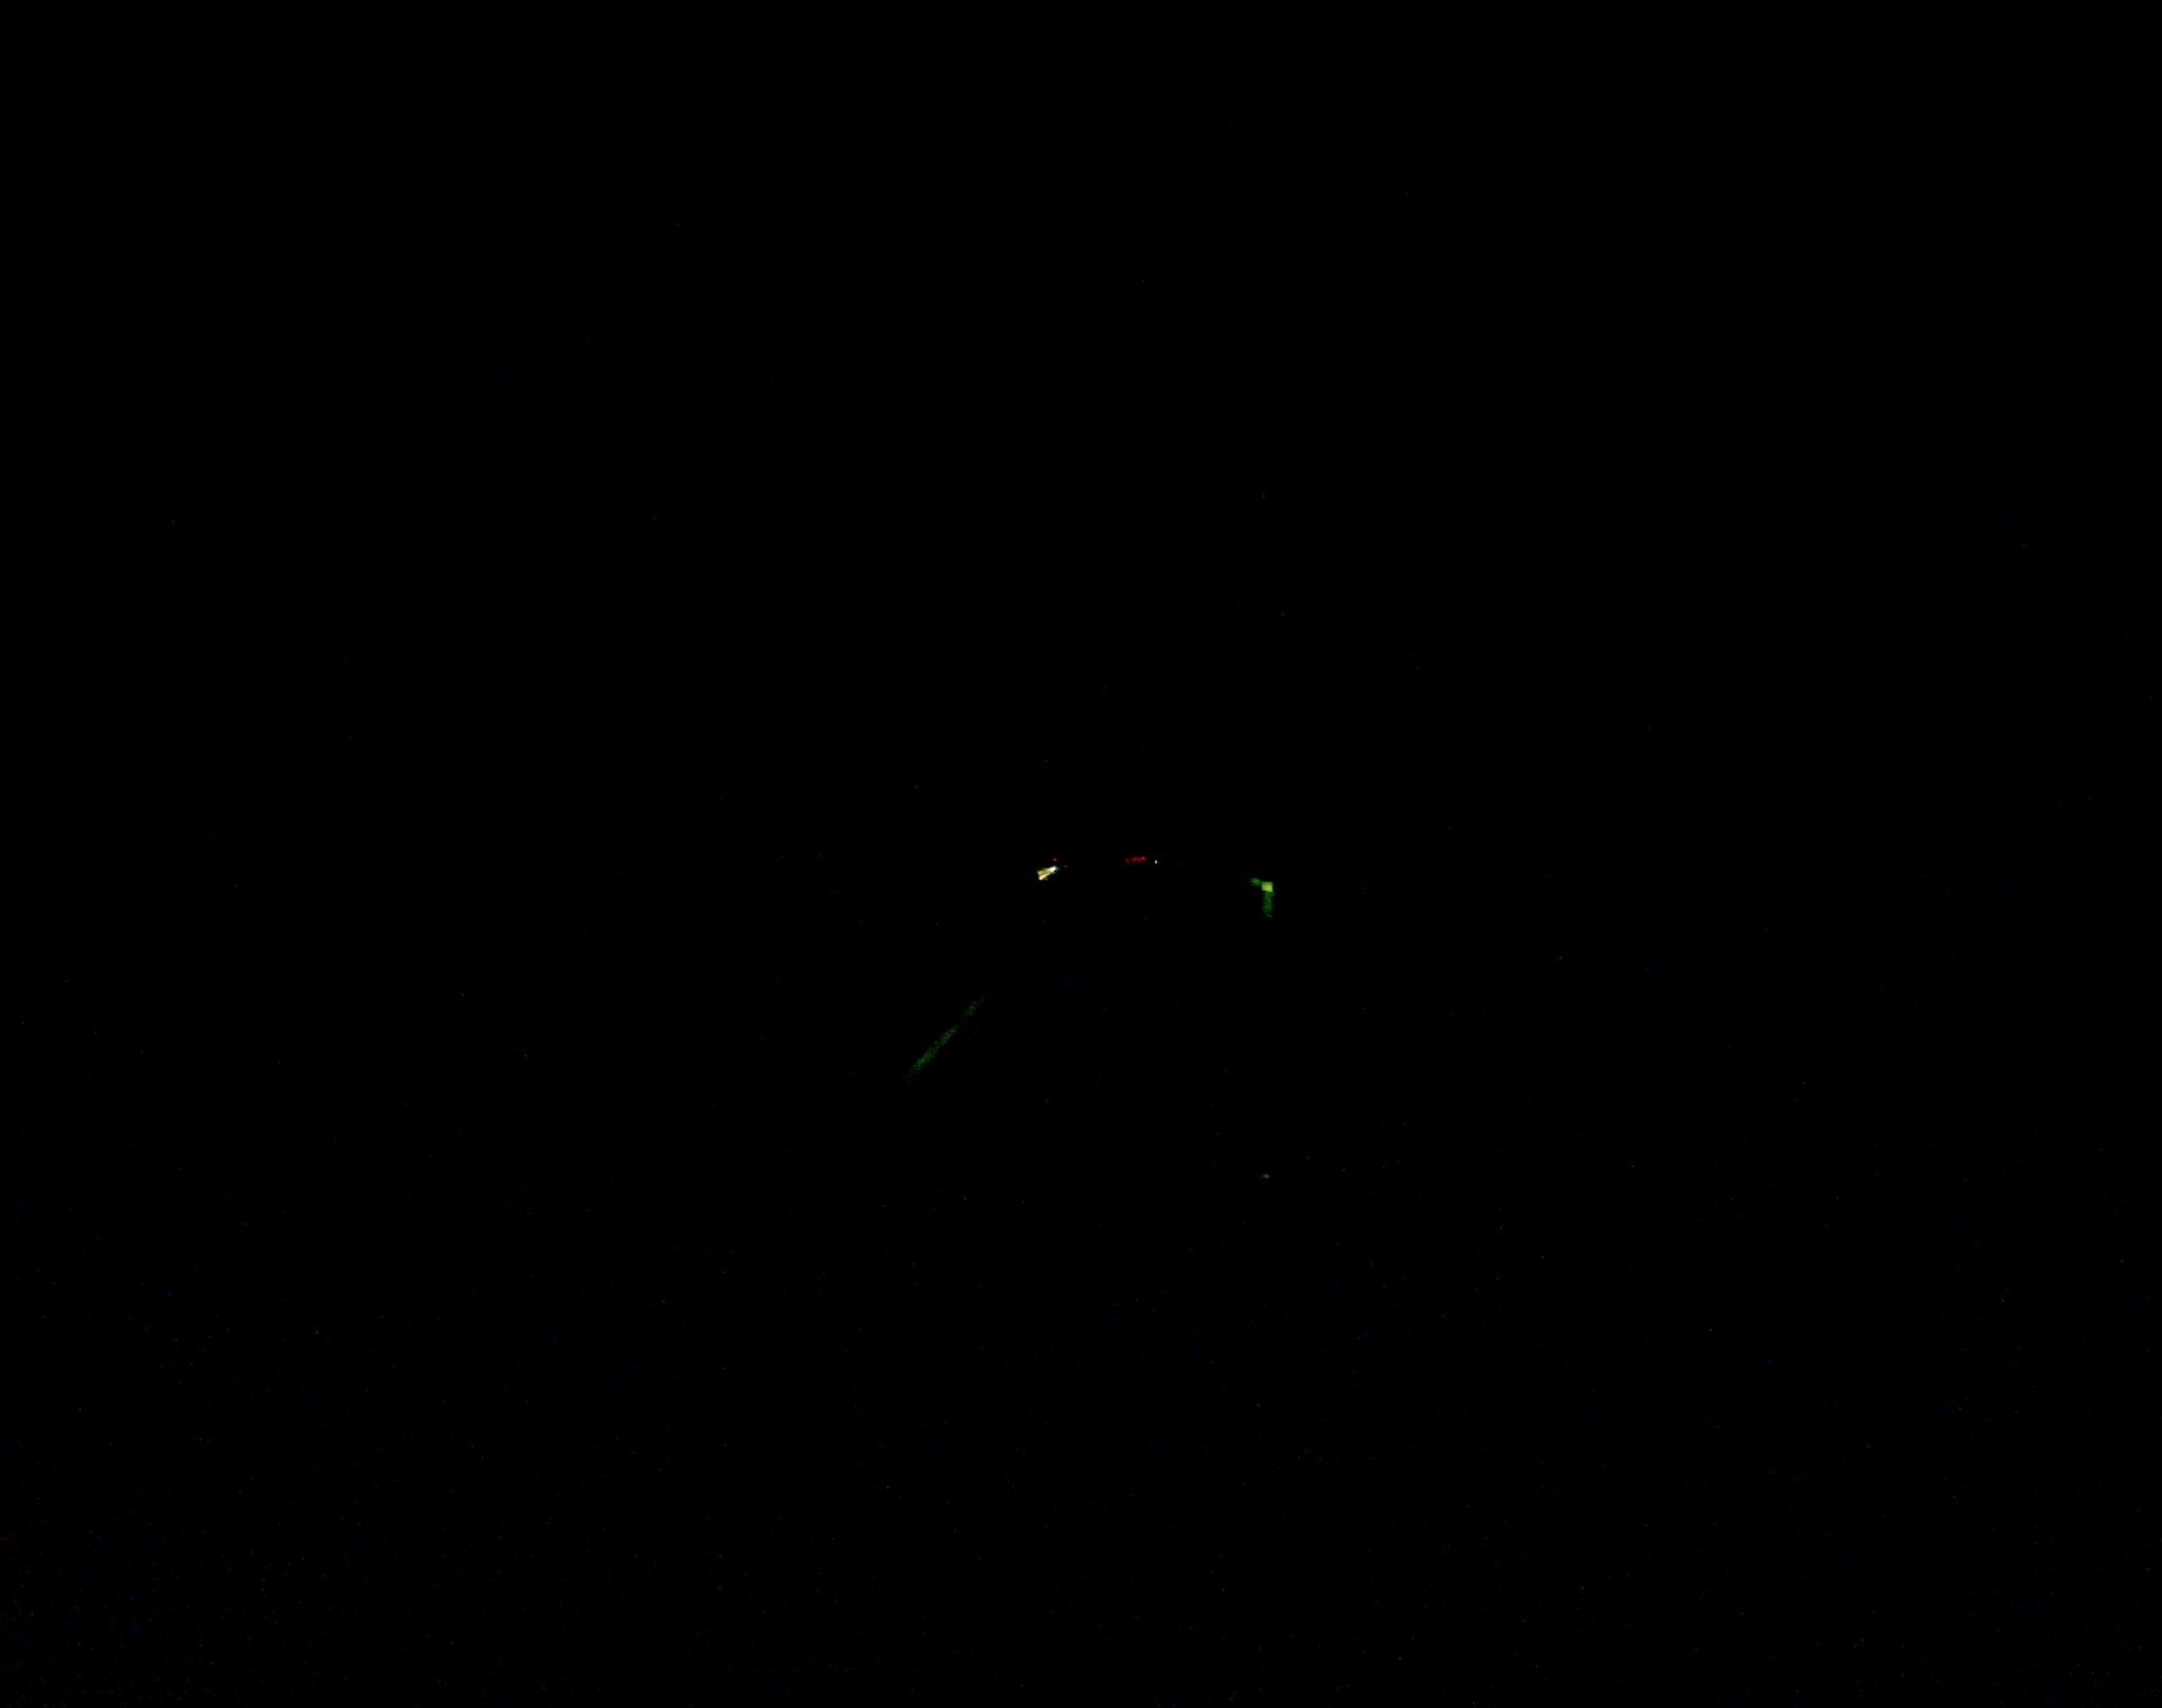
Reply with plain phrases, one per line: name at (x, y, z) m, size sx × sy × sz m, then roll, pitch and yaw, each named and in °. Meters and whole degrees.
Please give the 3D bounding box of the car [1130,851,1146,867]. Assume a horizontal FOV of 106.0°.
car at (8.036, 0.718, 114.633) m, size 2.187 × 2.014 × 4.211 m, roll -1°, pitch -3°, yaw 4°
